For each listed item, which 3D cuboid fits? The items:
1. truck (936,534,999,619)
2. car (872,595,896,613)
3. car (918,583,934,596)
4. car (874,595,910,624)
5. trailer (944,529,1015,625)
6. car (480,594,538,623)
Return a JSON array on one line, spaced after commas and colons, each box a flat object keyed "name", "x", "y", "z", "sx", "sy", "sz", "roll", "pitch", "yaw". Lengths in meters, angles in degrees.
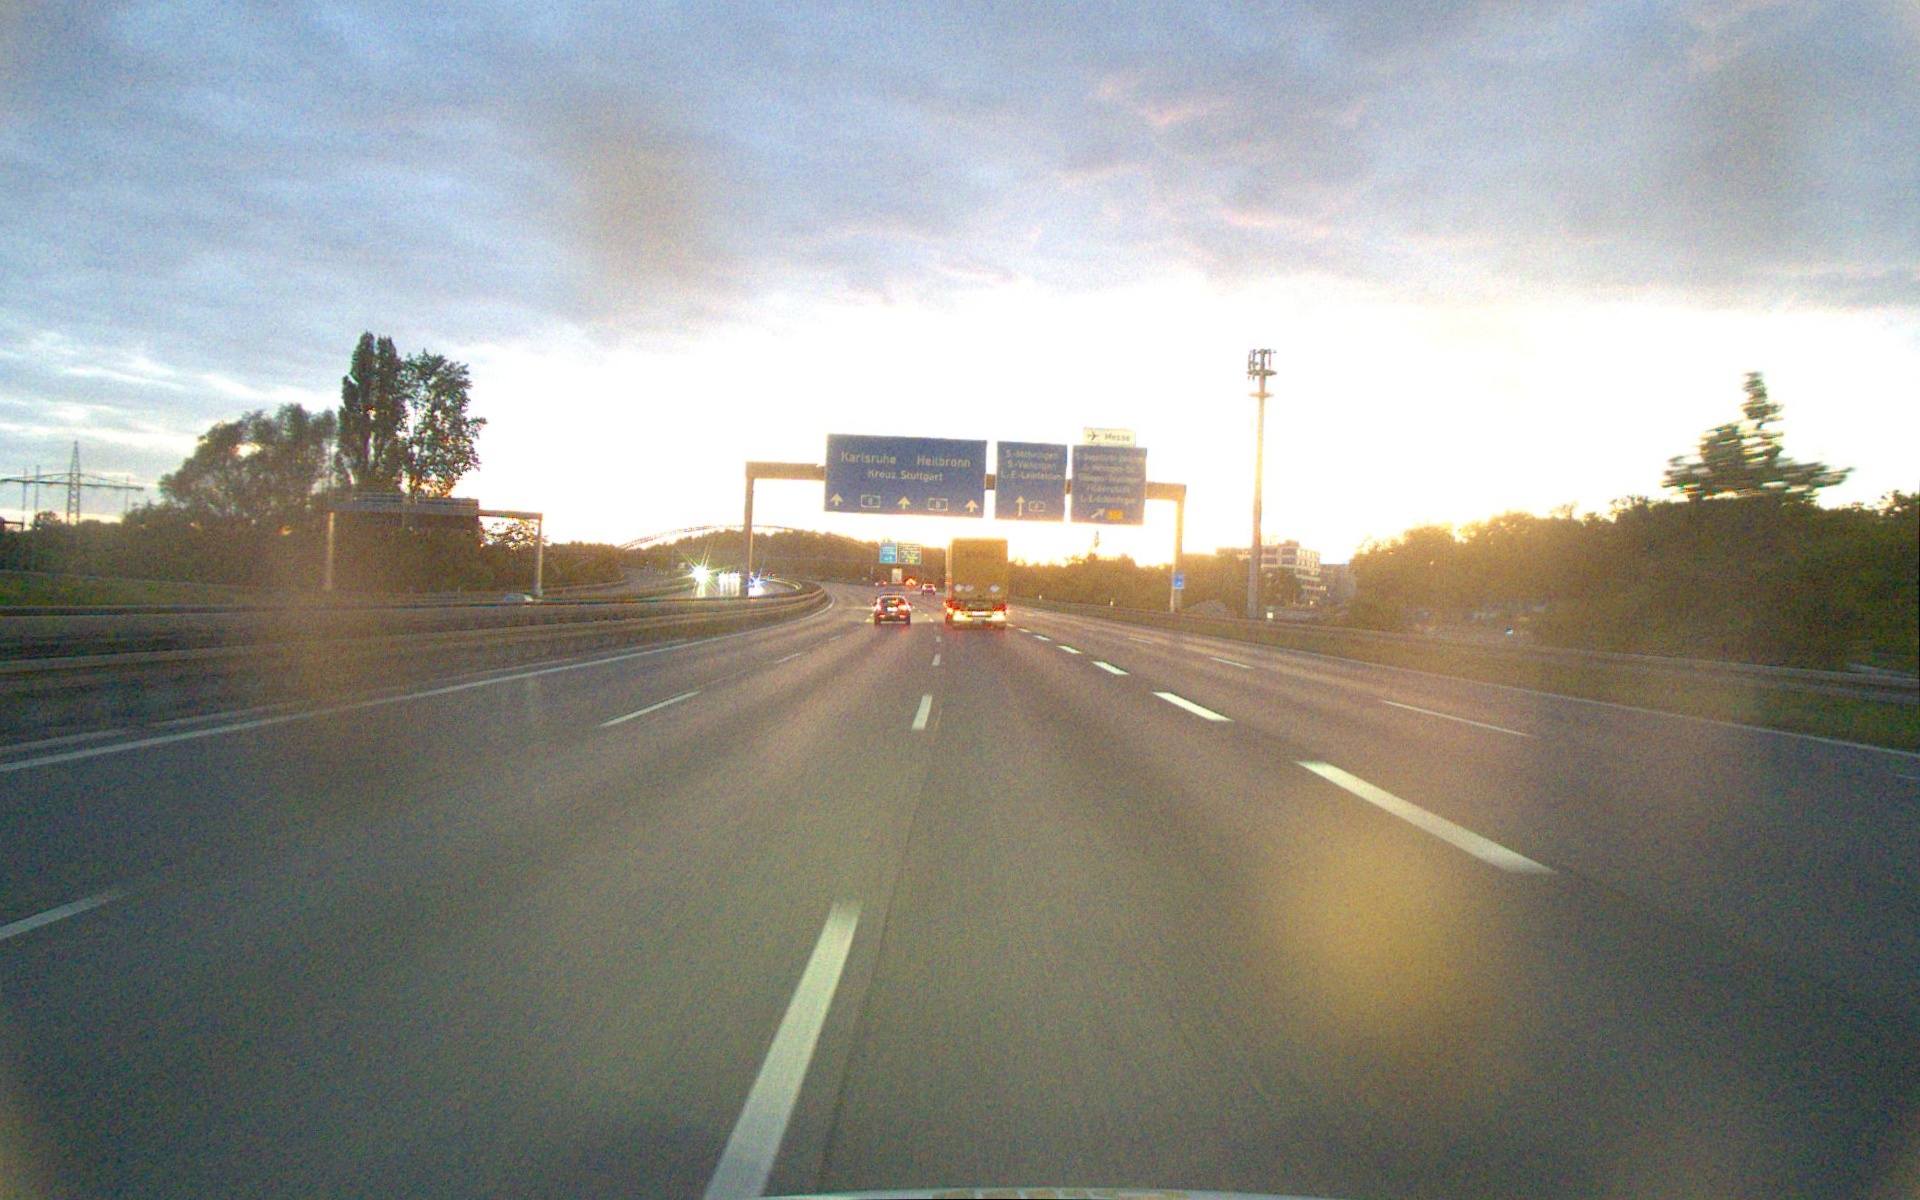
[{"name": "truck", "x": 0.297, "y": -1.236, "z": 86.416, "sx": 2.637, "sy": 4.142, "sz": 10.514, "roll": 1, "pitch": 1, "yaw": -3}, {"name": "car", "x": -6.040, "y": 0.319, "z": 131.170, "sx": 1.654, "sy": 1.426, "sz": 3.409, "roll": 0, "pitch": -1, "yaw": 1}, {"name": "car", "x": -4.874, "y": -1.529, "z": 239.356, "sx": 1.955, "sy": 1.747, "sz": 3.994, "roll": 1, "pitch": -1, "yaw": -6}, {"name": "car", "x": -3.487, "y": 0.474, "z": 84.690, "sx": 1.656, "sy": 1.426, "sz": 3.405, "roll": 1, "pitch": -1, "yaw": -5}, {"name": "trailer", "x": 0.811, "y": -1.076, "z": 76.780, "sx": 2.667, "sy": 4.142, "sz": 8.826, "roll": 1, "pitch": 1, "yaw": -3}, {"name": "car", "x": -23.637, "y": 0.414, "z": 86.790, "sx": 1.953, "sy": 1.428, "sz": 4.328, "roll": 2, "pitch": 0, "yaw": -2}]
